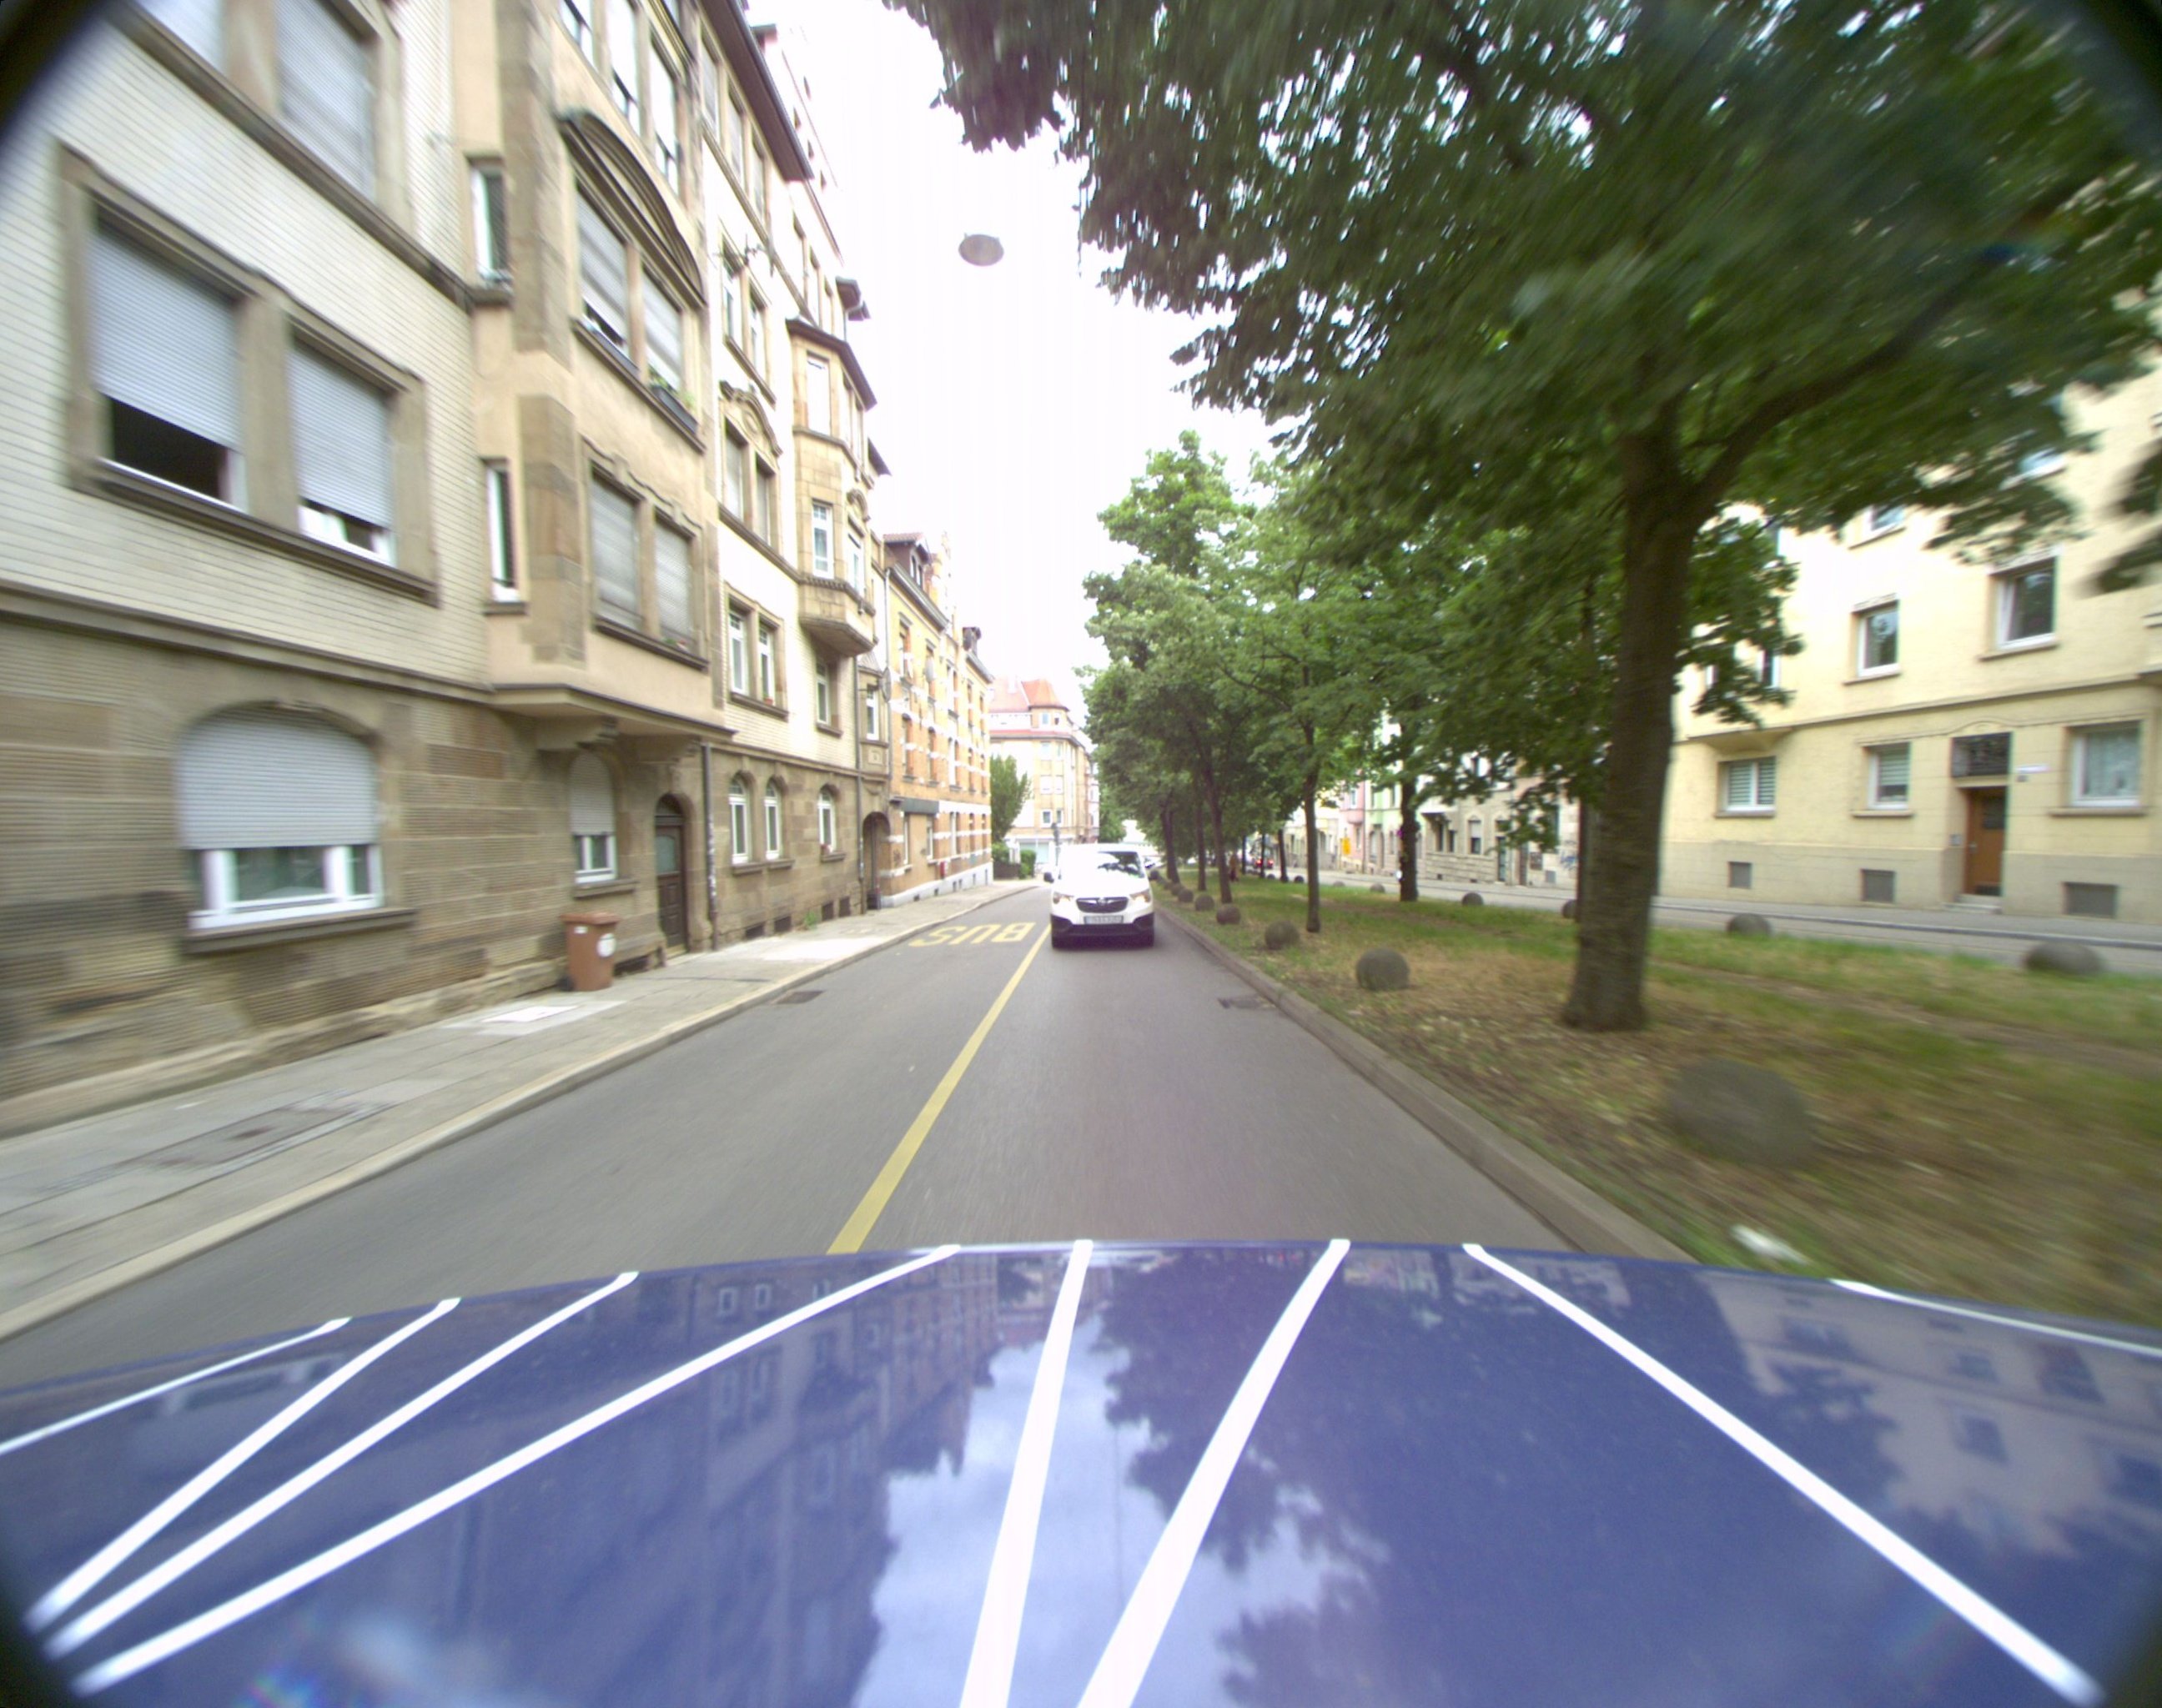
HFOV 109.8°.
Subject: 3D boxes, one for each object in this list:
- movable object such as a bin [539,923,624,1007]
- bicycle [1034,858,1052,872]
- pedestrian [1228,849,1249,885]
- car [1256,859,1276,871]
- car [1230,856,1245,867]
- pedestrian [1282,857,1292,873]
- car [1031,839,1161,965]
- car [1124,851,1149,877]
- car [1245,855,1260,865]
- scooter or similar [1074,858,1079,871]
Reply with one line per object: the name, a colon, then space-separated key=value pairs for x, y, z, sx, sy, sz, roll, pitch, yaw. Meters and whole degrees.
movable object such as a bin: x=-5.896 y=1.300 z=8.995 sx=0.595 sy=0.899 sz=0.563 roll=-2 pitch=1 yaw=2
bicycle: x=-3.649 y=1.018 z=72.564 sx=0.642 sy=1.134 sz=2.068 roll=-5 pitch=6 yaw=-37
pedestrian: x=7.877 y=0.631 z=38.085 sx=0.835 sy=1.703 sz=1.123 roll=3 pitch=3 yaw=6
car: x=21.129 y=1.255 z=86.910 sx=1.762 sy=1.374 sz=4.672 roll=1 pitch=-1 yaw=7
car: x=25.203 y=1.218 z=122.396 sx=1.819 sy=1.627 sz=4.680 roll=1 pitch=1 yaw=5
pedestrian: x=19.166 y=1.061 z=70.677 sx=0.700 sy=1.452 sz=0.704 roll=-1 pitch=0 yaw=7
car: x=0.375 y=0.731 z=13.722 sx=1.857 sy=1.798 sz=4.730 roll=-3 pitch=0 yaw=4
car: x=4.633 y=0.800 z=63.970 sx=1.962 sy=1.938 sz=3.956 roll=-2 pitch=2 yaw=4
car: x=24.096 y=0.819 z=106.800 sx=1.712 sy=1.374 sz=4.672 roll=1 pitch=-1 yaw=7
scooter or similar: x=-0.458 y=1.091 z=78.436 sx=0.410 sy=1.202 sz=1.146 roll=2 pitch=-2 yaw=6
